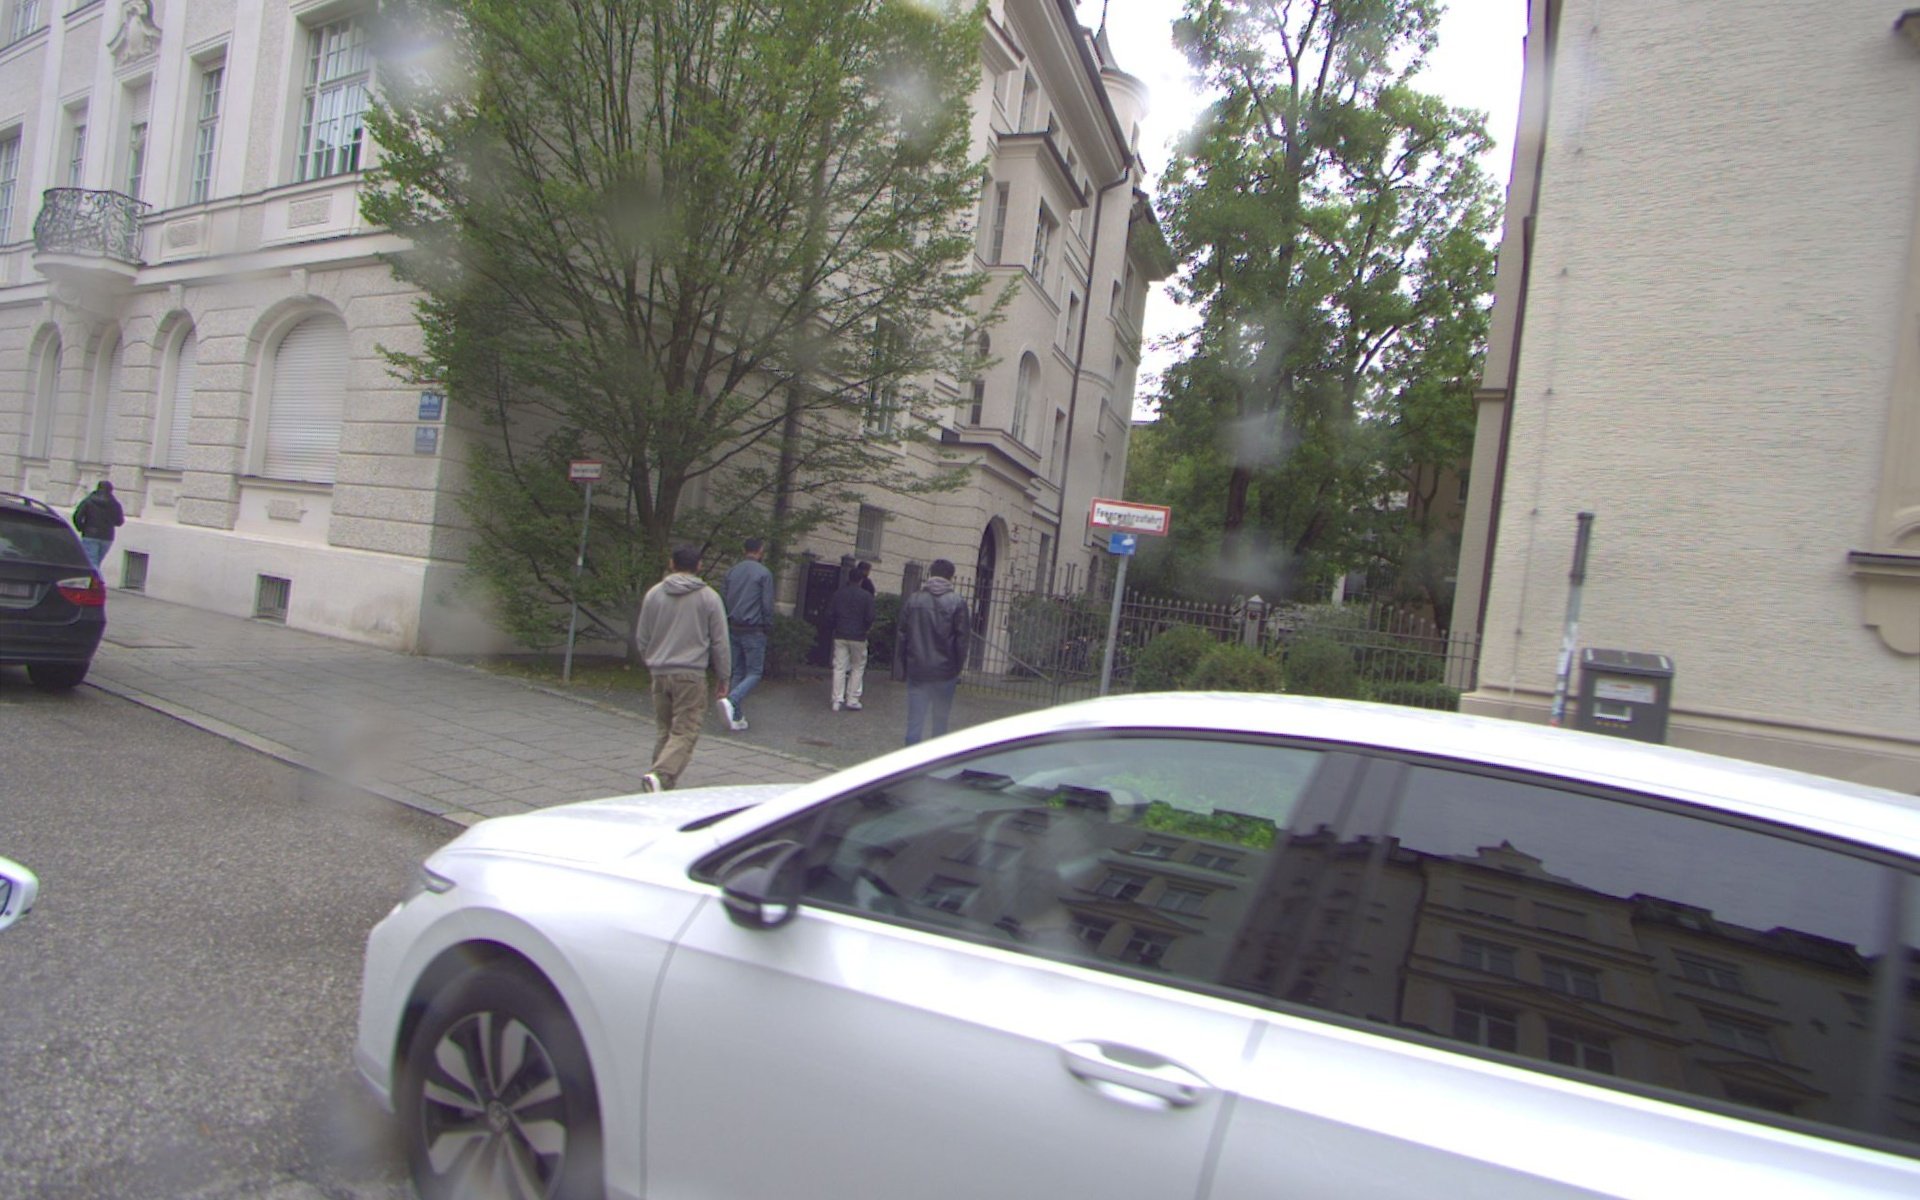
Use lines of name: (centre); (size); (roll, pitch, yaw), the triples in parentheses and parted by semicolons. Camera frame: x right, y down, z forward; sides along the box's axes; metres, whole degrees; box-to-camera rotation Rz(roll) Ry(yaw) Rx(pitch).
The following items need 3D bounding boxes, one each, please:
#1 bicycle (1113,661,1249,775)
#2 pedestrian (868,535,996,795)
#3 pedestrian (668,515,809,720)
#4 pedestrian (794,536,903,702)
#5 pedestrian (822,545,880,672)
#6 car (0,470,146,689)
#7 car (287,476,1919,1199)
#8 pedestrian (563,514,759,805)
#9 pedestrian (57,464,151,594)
bicycle: (2.136, 1.121, 9.740); (1.111, 0.919, 0.452); (6, 0, 33)
pedestrian: (-0.190, 0.479, 7.546); (0.660, 1.790, 0.630); (8, 0, 5)
pedestrian: (-2.071, 0.183, 9.487); (0.661, 1.790, 0.884); (8, -1, 30)
pedestrian: (-1.321, 0.234, 11.989); (0.667, 1.841, 0.860); (10, 3, 30)
pedestrian: (-1.646, 0.132, 15.141); (0.565, 1.816, 0.553); (7, 0, -14)
car: (-8.353, -0.387, 7.799); (4.153, 1.468, 1.715); (8, -2, 31)
car: (0.606, 0.774, 2.218); (3.994, 1.525, 1.667); (8, -1, 28)
pedestrian: (-1.893, 0.351, 6.483); (0.850, 1.680, 0.852); (6, 3, 3)
pedestrian: (-12.010, -0.987, 14.120); (0.798, 1.700, 0.683); (8, 2, 30)
